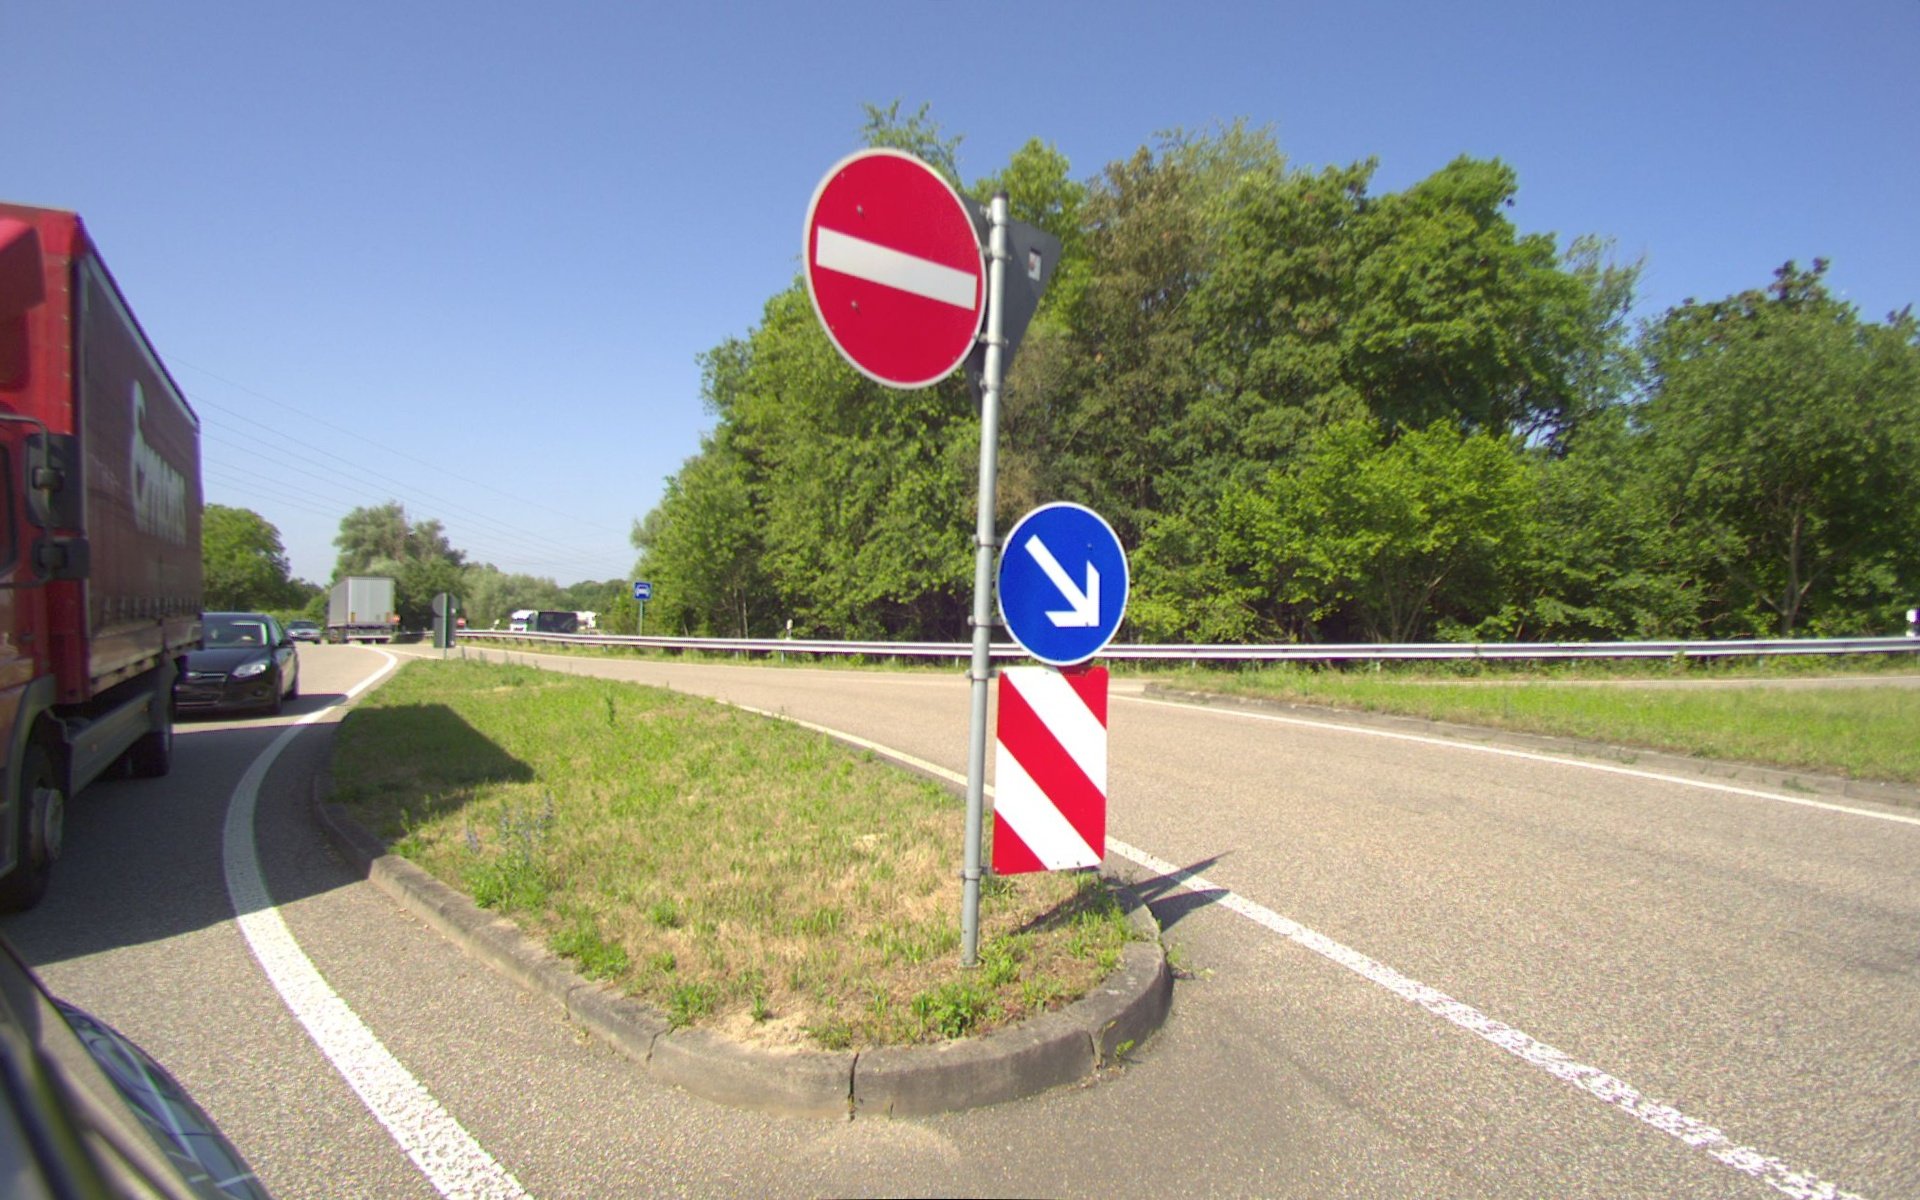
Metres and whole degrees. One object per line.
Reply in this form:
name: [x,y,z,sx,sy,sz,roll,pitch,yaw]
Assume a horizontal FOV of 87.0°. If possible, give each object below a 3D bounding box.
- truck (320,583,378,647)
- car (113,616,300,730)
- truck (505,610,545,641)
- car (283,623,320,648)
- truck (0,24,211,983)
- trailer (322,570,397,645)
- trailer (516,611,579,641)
truck: [-42.952,1.079,71.078,2.892,4.279,5.746,3,-3,-36]
car: [-10.949,0.960,14.975,1.758,1.425,4.012,0,-1,-30]
truck: [-62.724,3.720,146.176,2.903,4.270,5.725,1,-2,4]
car: [-38.961,2.055,59.831,1.759,1.396,4.389,0,-1,-34]
truck: [-7.254,-0.311,7.098,2.646,3.689,9.288,0,-1,-33]
trailer: [-39.044,0.625,65.533,2.910,4.300,14.014,3,-3,-35]
trailer: [-62.252,3.981,153.325,2.893,4.272,13.963,2,-2,4]
